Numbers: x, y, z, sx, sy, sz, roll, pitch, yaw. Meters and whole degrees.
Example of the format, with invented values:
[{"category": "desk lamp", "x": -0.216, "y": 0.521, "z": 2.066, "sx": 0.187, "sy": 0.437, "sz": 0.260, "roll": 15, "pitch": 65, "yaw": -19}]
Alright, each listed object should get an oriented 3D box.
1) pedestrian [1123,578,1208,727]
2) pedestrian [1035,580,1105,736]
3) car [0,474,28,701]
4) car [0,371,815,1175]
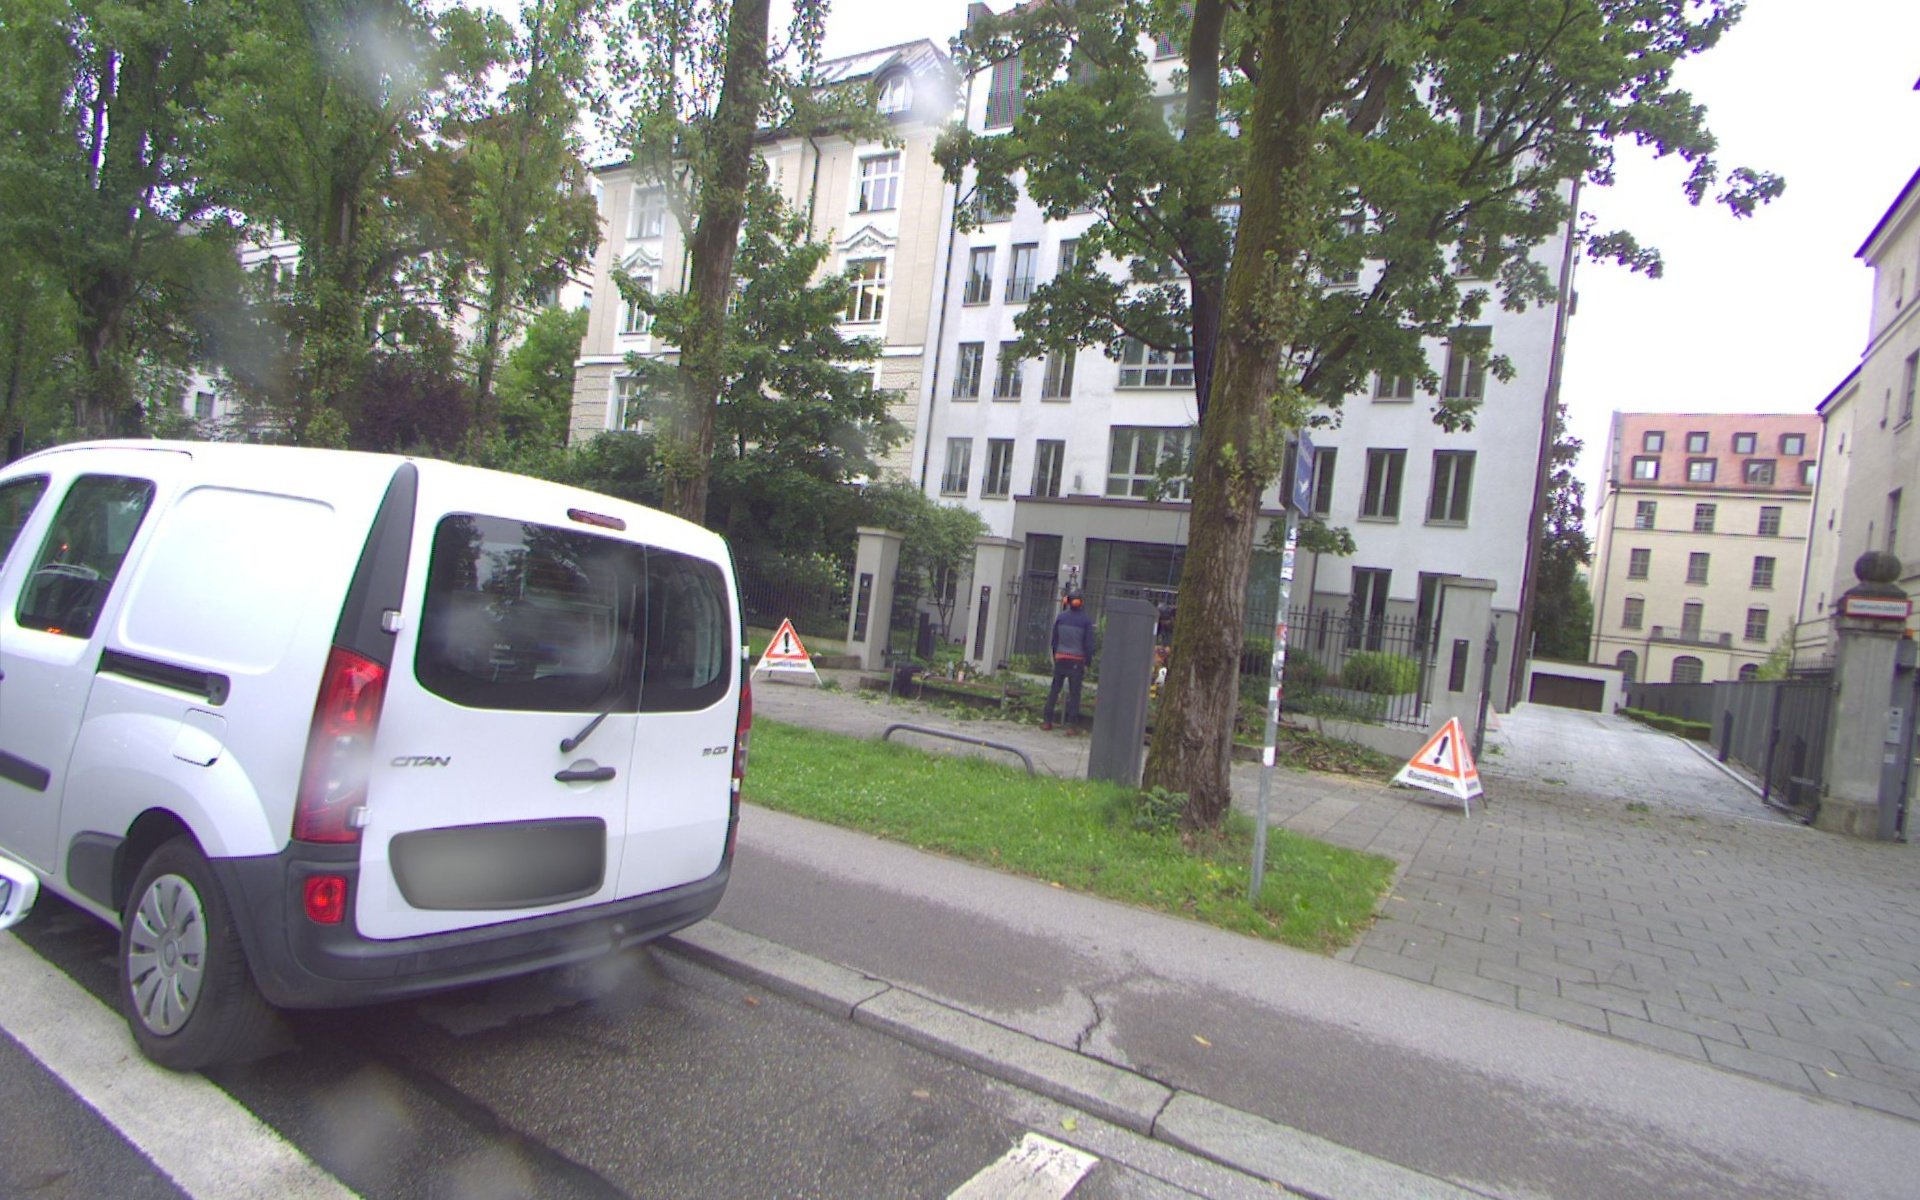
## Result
[{"category": "pedestrian", "x": 2.743, "y": 0.683, "z": 13.525, "sx": 0.814, "sy": 1.823, "sz": 0.904, "roll": 9, "pitch": 2, "yaw": 10}, {"category": "pedestrian", "x": 1.410, "y": 0.732, "z": 12.820, "sx": 0.626, "sy": 1.886, "sz": 0.488, "roll": 7, "pitch": 1, "yaw": 14}, {"category": "car", "x": -8.972, "y": -0.360, "z": 7.535, "sx": 4.141, "sy": 1.612, "sz": 1.743, "roll": 7, "pitch": 0, "yaw": 31}, {"category": "car", "x": -2.892, "y": 0.257, "z": 4.196, "sx": 4.097, "sy": 1.904, "sz": 1.854, "roll": 7, "pitch": 0, "yaw": 30}]
